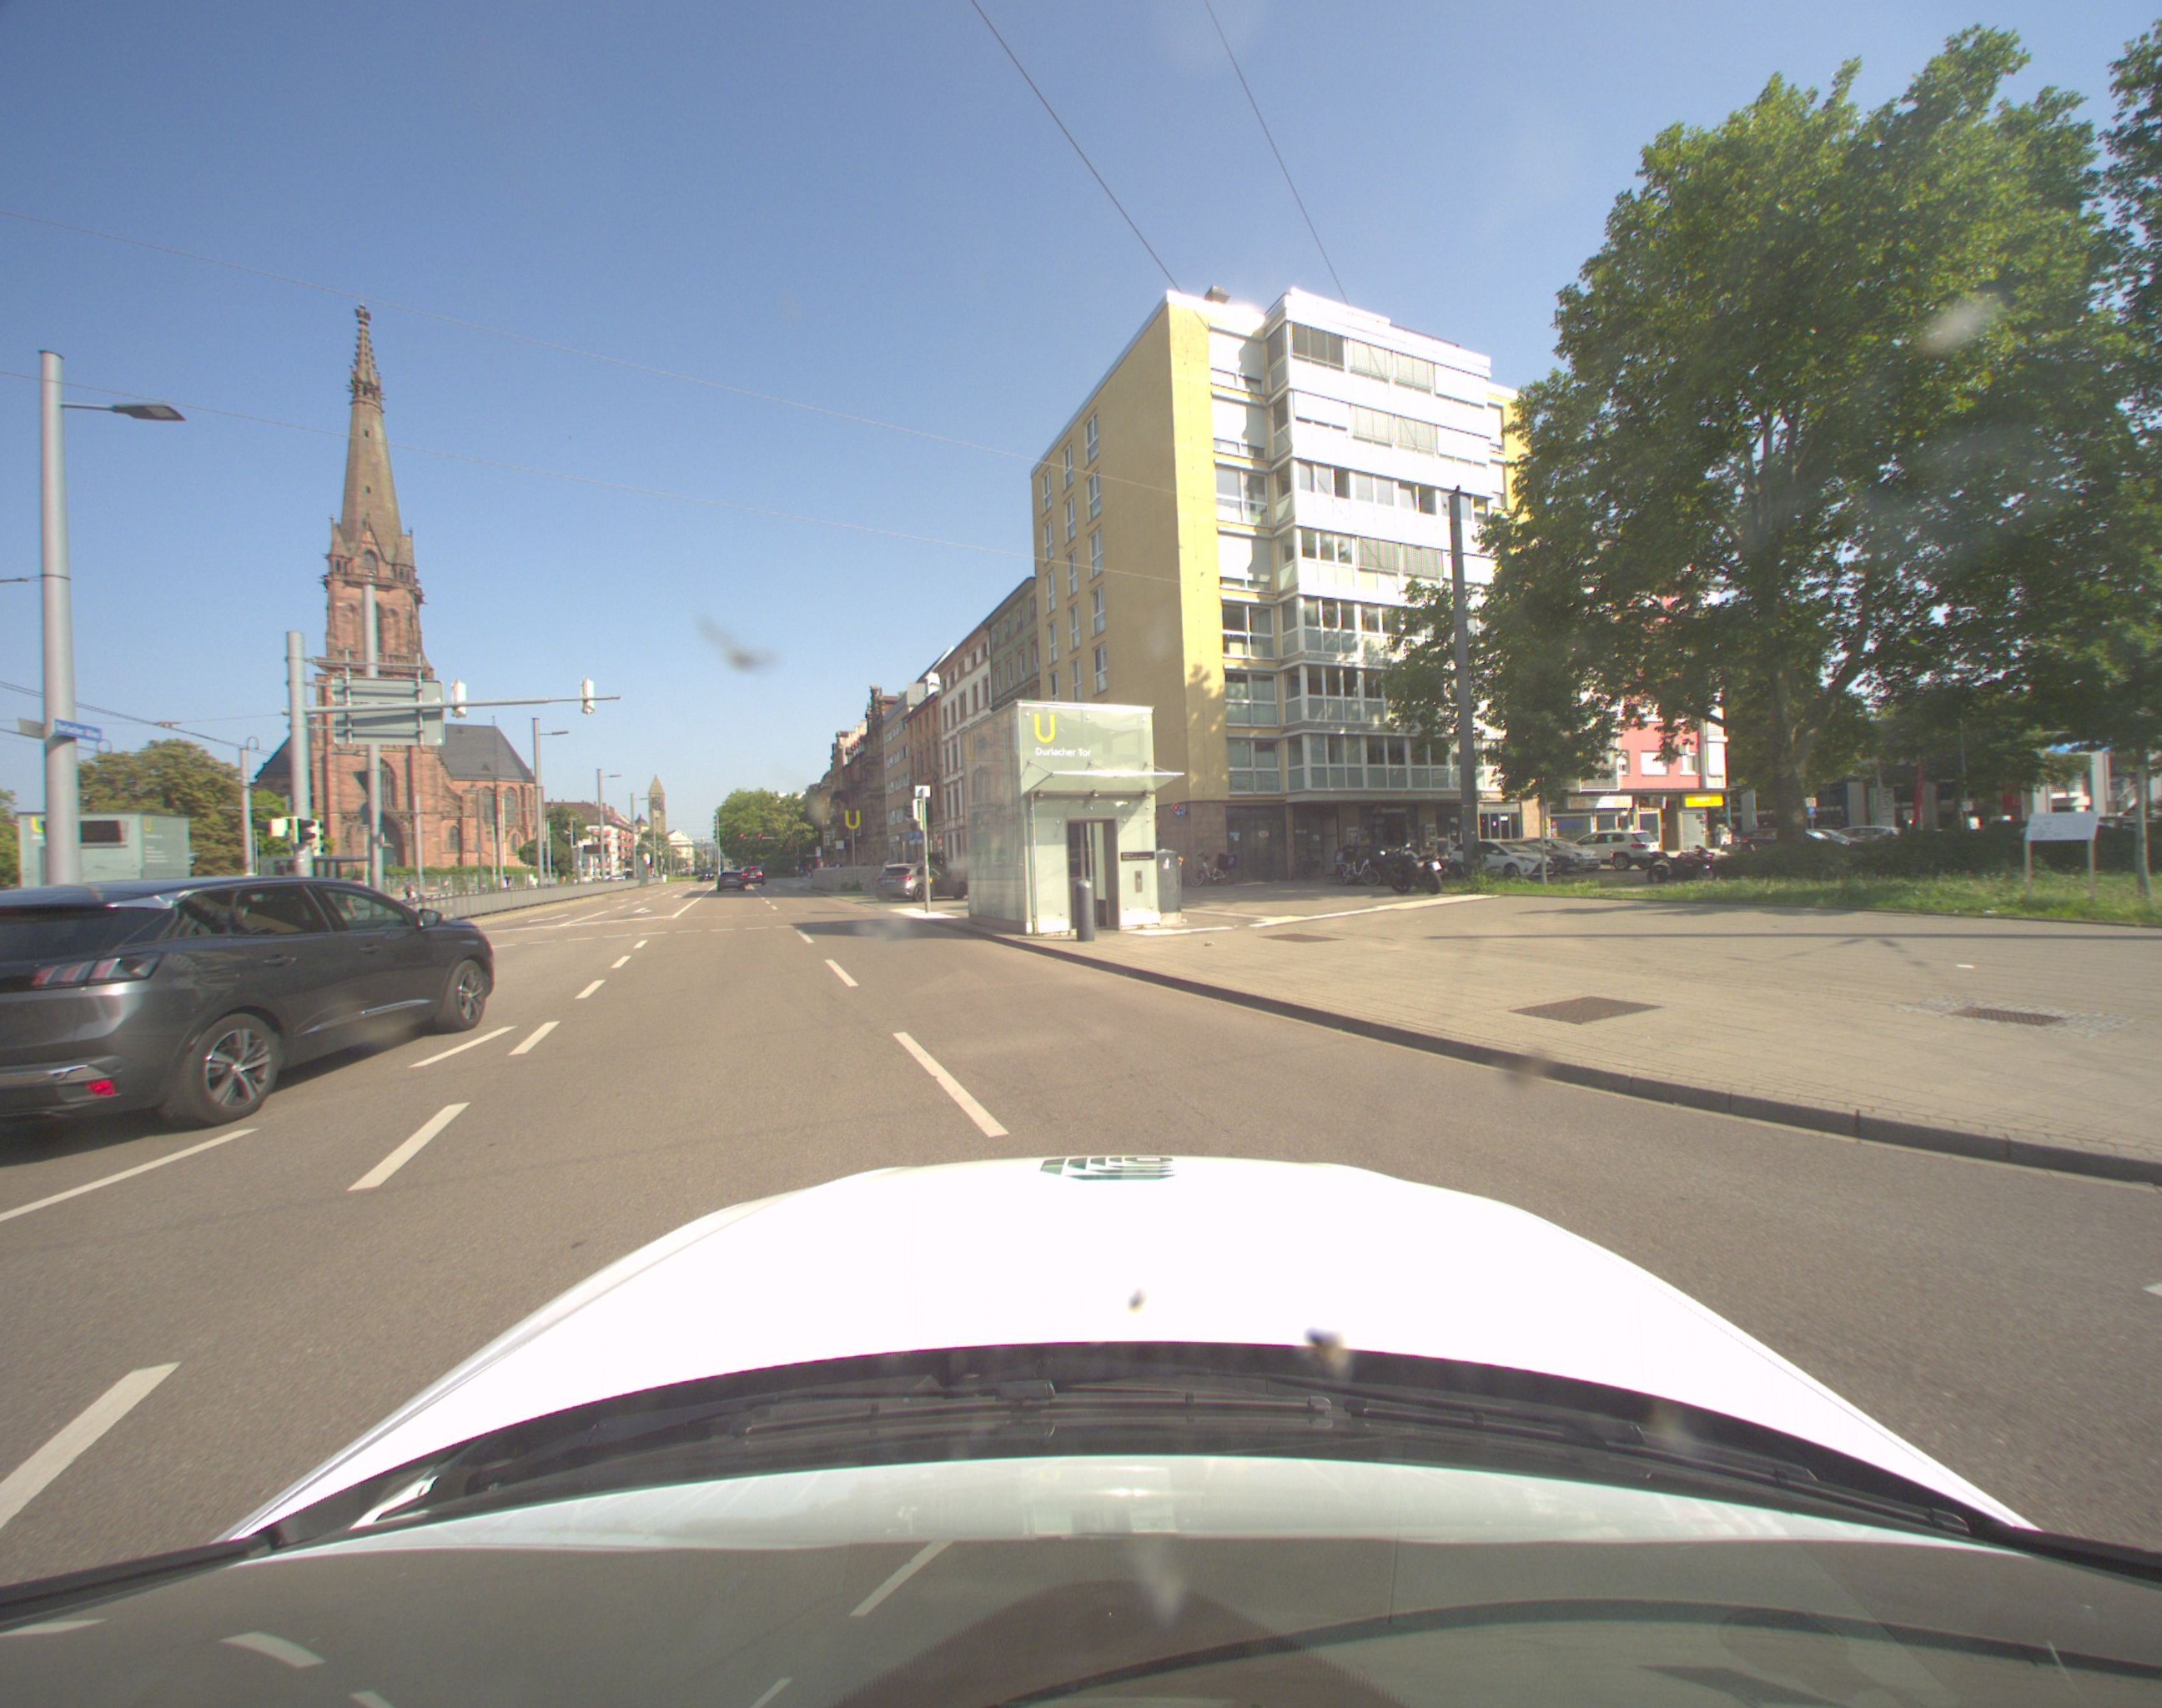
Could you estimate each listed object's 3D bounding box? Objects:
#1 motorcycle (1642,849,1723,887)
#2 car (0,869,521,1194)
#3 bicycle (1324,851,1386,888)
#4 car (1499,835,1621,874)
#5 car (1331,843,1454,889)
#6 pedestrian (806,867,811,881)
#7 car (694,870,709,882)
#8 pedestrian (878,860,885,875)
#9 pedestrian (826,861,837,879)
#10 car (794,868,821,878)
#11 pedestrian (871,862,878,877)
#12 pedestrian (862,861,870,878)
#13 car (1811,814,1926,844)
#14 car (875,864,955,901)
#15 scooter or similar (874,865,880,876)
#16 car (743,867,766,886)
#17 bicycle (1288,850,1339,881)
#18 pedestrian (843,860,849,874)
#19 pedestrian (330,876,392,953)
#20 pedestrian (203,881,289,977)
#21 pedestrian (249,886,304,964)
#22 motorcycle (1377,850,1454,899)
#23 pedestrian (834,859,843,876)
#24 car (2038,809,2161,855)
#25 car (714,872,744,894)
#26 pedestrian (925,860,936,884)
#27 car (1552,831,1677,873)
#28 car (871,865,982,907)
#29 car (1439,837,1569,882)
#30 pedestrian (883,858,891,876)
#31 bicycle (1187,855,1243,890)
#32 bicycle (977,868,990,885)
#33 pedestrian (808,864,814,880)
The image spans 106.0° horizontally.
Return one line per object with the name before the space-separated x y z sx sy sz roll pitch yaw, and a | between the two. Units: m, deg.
motorcycle | 17.317 0.391 23.512 0.702 1.001 1.951 -2 0 -7
car | -6.595 0.998 6.292 1.993 1.621 4.343 -2 0 -9
bicycle | 9.500 0.536 28.320 0.525 1.235 2.280 -2 0 -27
car | 19.933 0.036 34.055 2.002 1.507 3.970 -2 0 -22
car | 10.945 0.420 28.939 1.663 1.441 4.163 -2 0 -22
pedestrian | -35.195 2.590 105.138 0.484 1.702 0.697 -2 0 -27
car | -51.770 3.034 111.119 1.749 1.526 3.842 -2 0 -24
pedestrian | -22.806 1.523 92.981 0.606 1.692 0.582 -2 0 -27
pedestrian | -25.667 1.636 83.821 0.930 1.831 0.794 -2 0 -27
car | -48.137 3.293 143.165 4.204 1.563 1.982 -2 0 -28
pedestrian | -24.130 1.832 95.335 0.606 1.654 0.582 -2 0 -27
pedestrian | -24.183 1.739 91.447 0.723 1.787 0.850 -2 0 -23
car | 41.322 -1.267 42.832 1.745 1.376 3.968 -2 0 -24
car | -7.330 1.253 36.257 1.603 1.464 3.549 -2 -1 25
scooter or similar | -22.764 1.835 90.863 0.362 1.163 1.142 -2 0 -26
car | -29.716 2.016 74.132 1.839 1.621 4.323 0 -1 -23
bicycle | 9.569 0.466 33.445 2.026 1.183 0.665 -3 0 -24
pedestrian | -30.546 1.703 105.732 0.619 1.804 1.063 -2 0 -22
pedestrian | -16.976 1.407 19.221 0.817 1.692 0.646 -5 0 -23
pedestrian | -16.696 1.472 16.310 0.834 1.788 0.725 -5 0 -16
pedestrian | -17.479 1.527 17.705 0.636 1.597 0.464 -5 0 -25
motorcycle | 8.290 0.485 20.326 0.702 1.147 2.295 -2 0 -7
pedestrian | -25.896 1.442 87.056 0.753 1.729 0.794 -2 0 -27
car | 34.234 -0.726 26.265 2.003 1.376 3.968 -2 0 -24
car | -24.507 1.984 56.804 1.872 1.424 4.323 -1 -1 -23
pedestrian | -10.886 1.298 58.848 0.611 1.629 0.731 -2 0 -23
car | 22.424 -0.061 34.391 2.002 1.644 3.970 -2 0 -22
car | -5.929 1.197 31.803 1.824 1.423 4.436 -2 -1 28
car | 15.822 0.207 30.653 2.002 1.507 3.970 -2 0 -22
pedestrian | -20.547 1.358 86.401 0.606 1.831 0.736 -2 0 -27
bicycle | 5.098 0.705 31.038 2.026 1.206 0.665 -3 0 -24
bicycle | -6.620 1.511 55.034 0.385 1.134 1.706 -2 0 -23
pedestrian | -30.338 2.041 91.515 0.568 1.729 0.739 -2 0 -27
